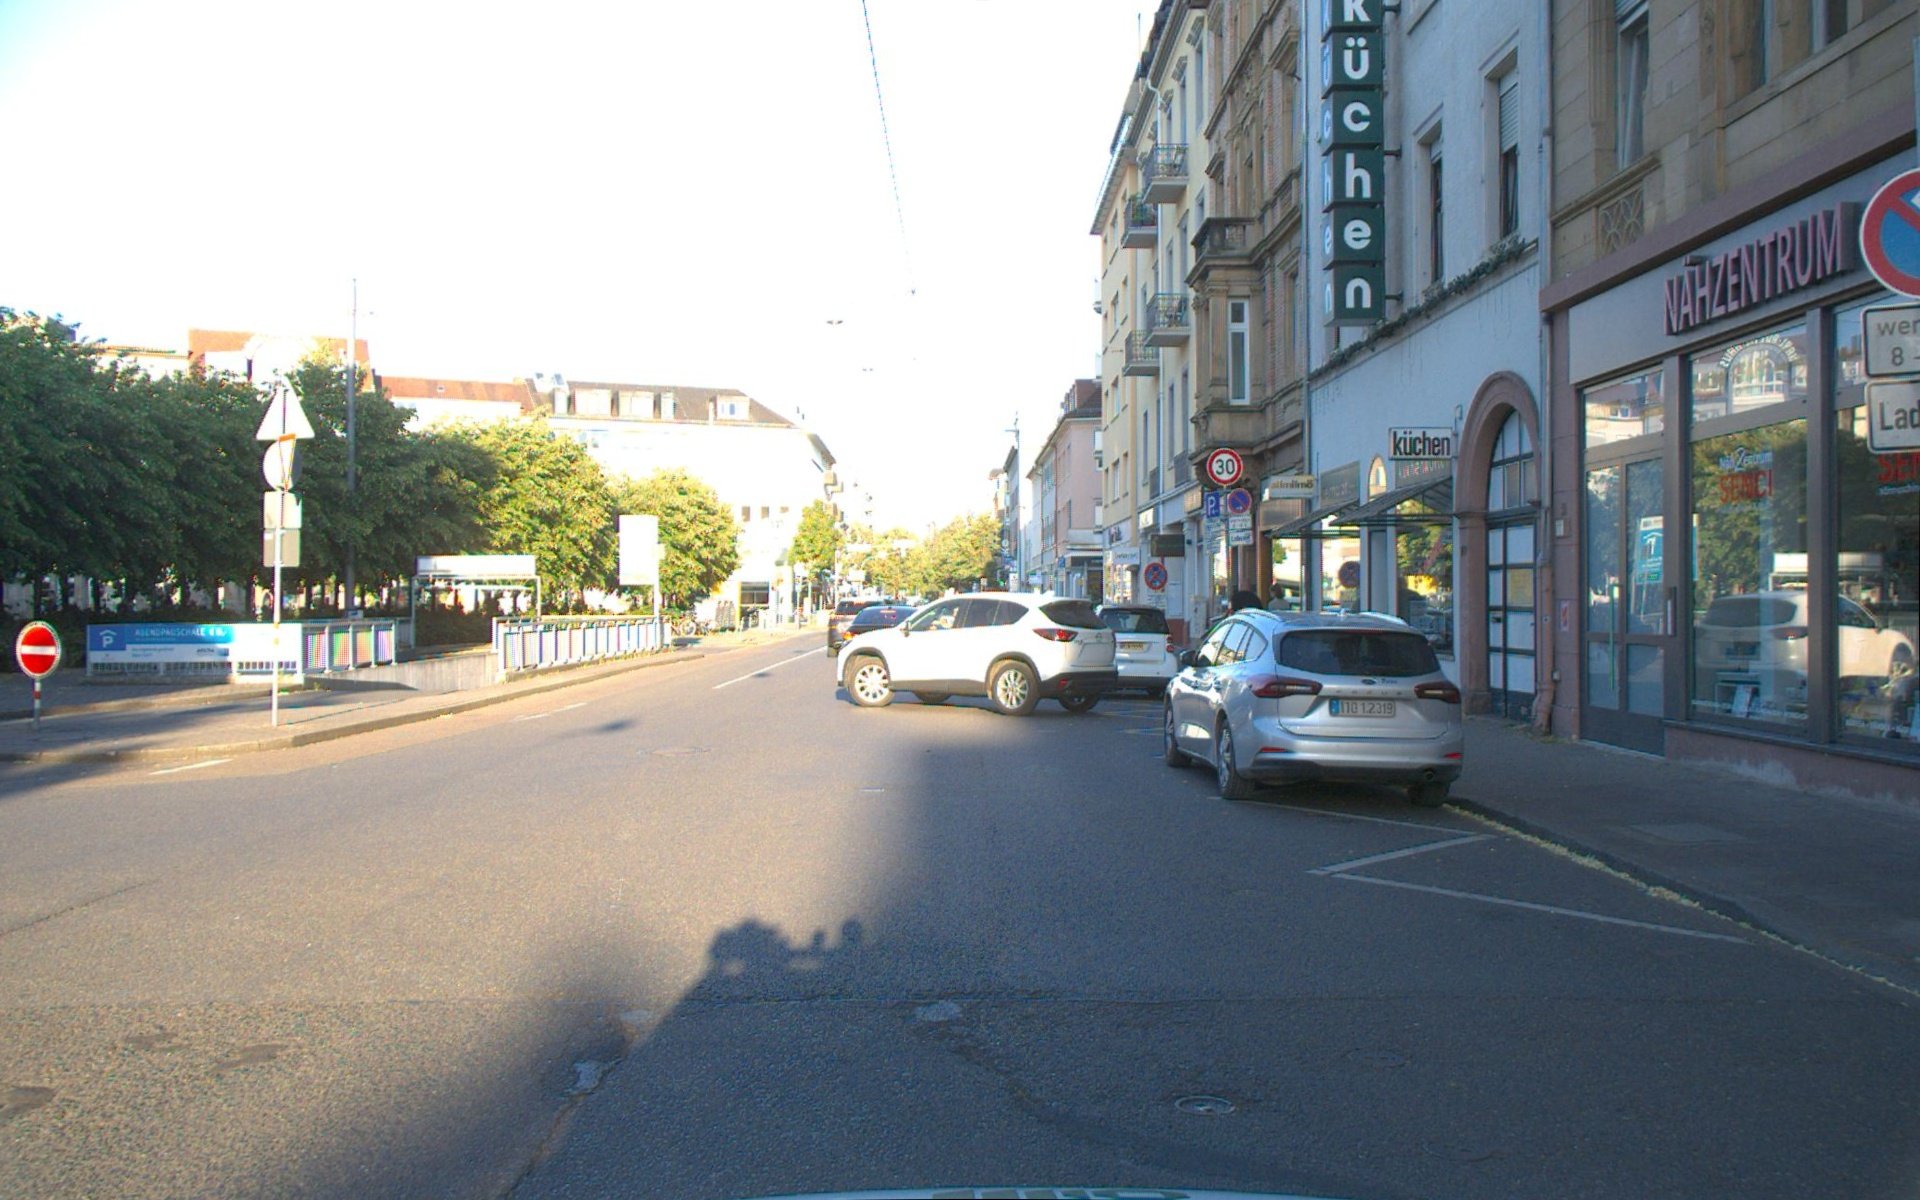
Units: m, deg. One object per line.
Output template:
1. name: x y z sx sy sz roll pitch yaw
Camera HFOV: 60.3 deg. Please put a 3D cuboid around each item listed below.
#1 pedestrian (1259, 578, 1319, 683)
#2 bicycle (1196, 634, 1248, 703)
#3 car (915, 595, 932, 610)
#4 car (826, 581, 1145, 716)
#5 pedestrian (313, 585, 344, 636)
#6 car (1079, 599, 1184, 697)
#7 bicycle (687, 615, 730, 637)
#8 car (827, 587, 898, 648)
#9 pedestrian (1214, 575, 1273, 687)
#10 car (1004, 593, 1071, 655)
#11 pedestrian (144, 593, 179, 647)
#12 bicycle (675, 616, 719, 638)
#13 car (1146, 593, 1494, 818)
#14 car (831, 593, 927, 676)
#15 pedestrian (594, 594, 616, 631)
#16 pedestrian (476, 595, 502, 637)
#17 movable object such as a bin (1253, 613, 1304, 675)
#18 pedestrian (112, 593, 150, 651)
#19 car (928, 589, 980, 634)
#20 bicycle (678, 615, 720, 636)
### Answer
1. pedestrian: 5.648 0.514 28.433 0.757 1.741 1.042 -2 0 -1
2. bicycle: 4.248 1.089 26.914 0.494 1.034 1.946 0 0 -1
3. car: -3.751 0.245 170.297 1.743 1.574 3.999 0 0 -1
4. car: 0.319 0.654 24.169 4.380 1.792 1.991 -1 0 39
5. pedestrian: -20.518 0.340 53.759 0.663 1.623 0.677 0 0 19
6. car: 2.891 0.791 28.386 1.500 1.563 3.283 1 -1 1
7. bicycle: -11.045 1.158 72.586 1.789 0.868 0.483 3 -1 -5
8. car: -2.765 0.489 47.714 1.858 1.678 4.103 0 0 -1
9. pedestrian: 4.861 0.522 28.400 0.757 1.859 1.010 -2 0 -1
10. car: 2.222 0.685 48.235 1.694 1.679 4.284 2 -1 0
11. pedestrian: -24.087 0.602 49.892 0.774 1.623 0.568 0 0 19
12. bicycle: -11.244 1.146 70.781 1.789 0.868 0.483 3 -1 -5
13. car: 2.853 0.781 14.249 1.724 1.563 4.819 2 -1 -3
14. car: -1.642 0.686 34.837 1.858 1.609 3.999 1 0 -1
15. pedestrian: -15.893 0.550 74.086 0.774 1.623 0.568 0 0 19
16. pedestrian: -18.359 0.630 64.442 0.774 1.623 0.568 0 0 19
17. movable object such as a bin: 5.831 0.806 30.315 0.758 1.089 0.618 -2 0 -1
18. pedestrian: -23.527 0.620 46.920 0.774 1.623 0.568 0 0 19
19. car: -0.260 0.444 62.734 1.858 1.609 3.999 1 0 -1
20. bicycle: -11.585 1.137 73.490 1.789 0.868 0.483 3 -1 -5
